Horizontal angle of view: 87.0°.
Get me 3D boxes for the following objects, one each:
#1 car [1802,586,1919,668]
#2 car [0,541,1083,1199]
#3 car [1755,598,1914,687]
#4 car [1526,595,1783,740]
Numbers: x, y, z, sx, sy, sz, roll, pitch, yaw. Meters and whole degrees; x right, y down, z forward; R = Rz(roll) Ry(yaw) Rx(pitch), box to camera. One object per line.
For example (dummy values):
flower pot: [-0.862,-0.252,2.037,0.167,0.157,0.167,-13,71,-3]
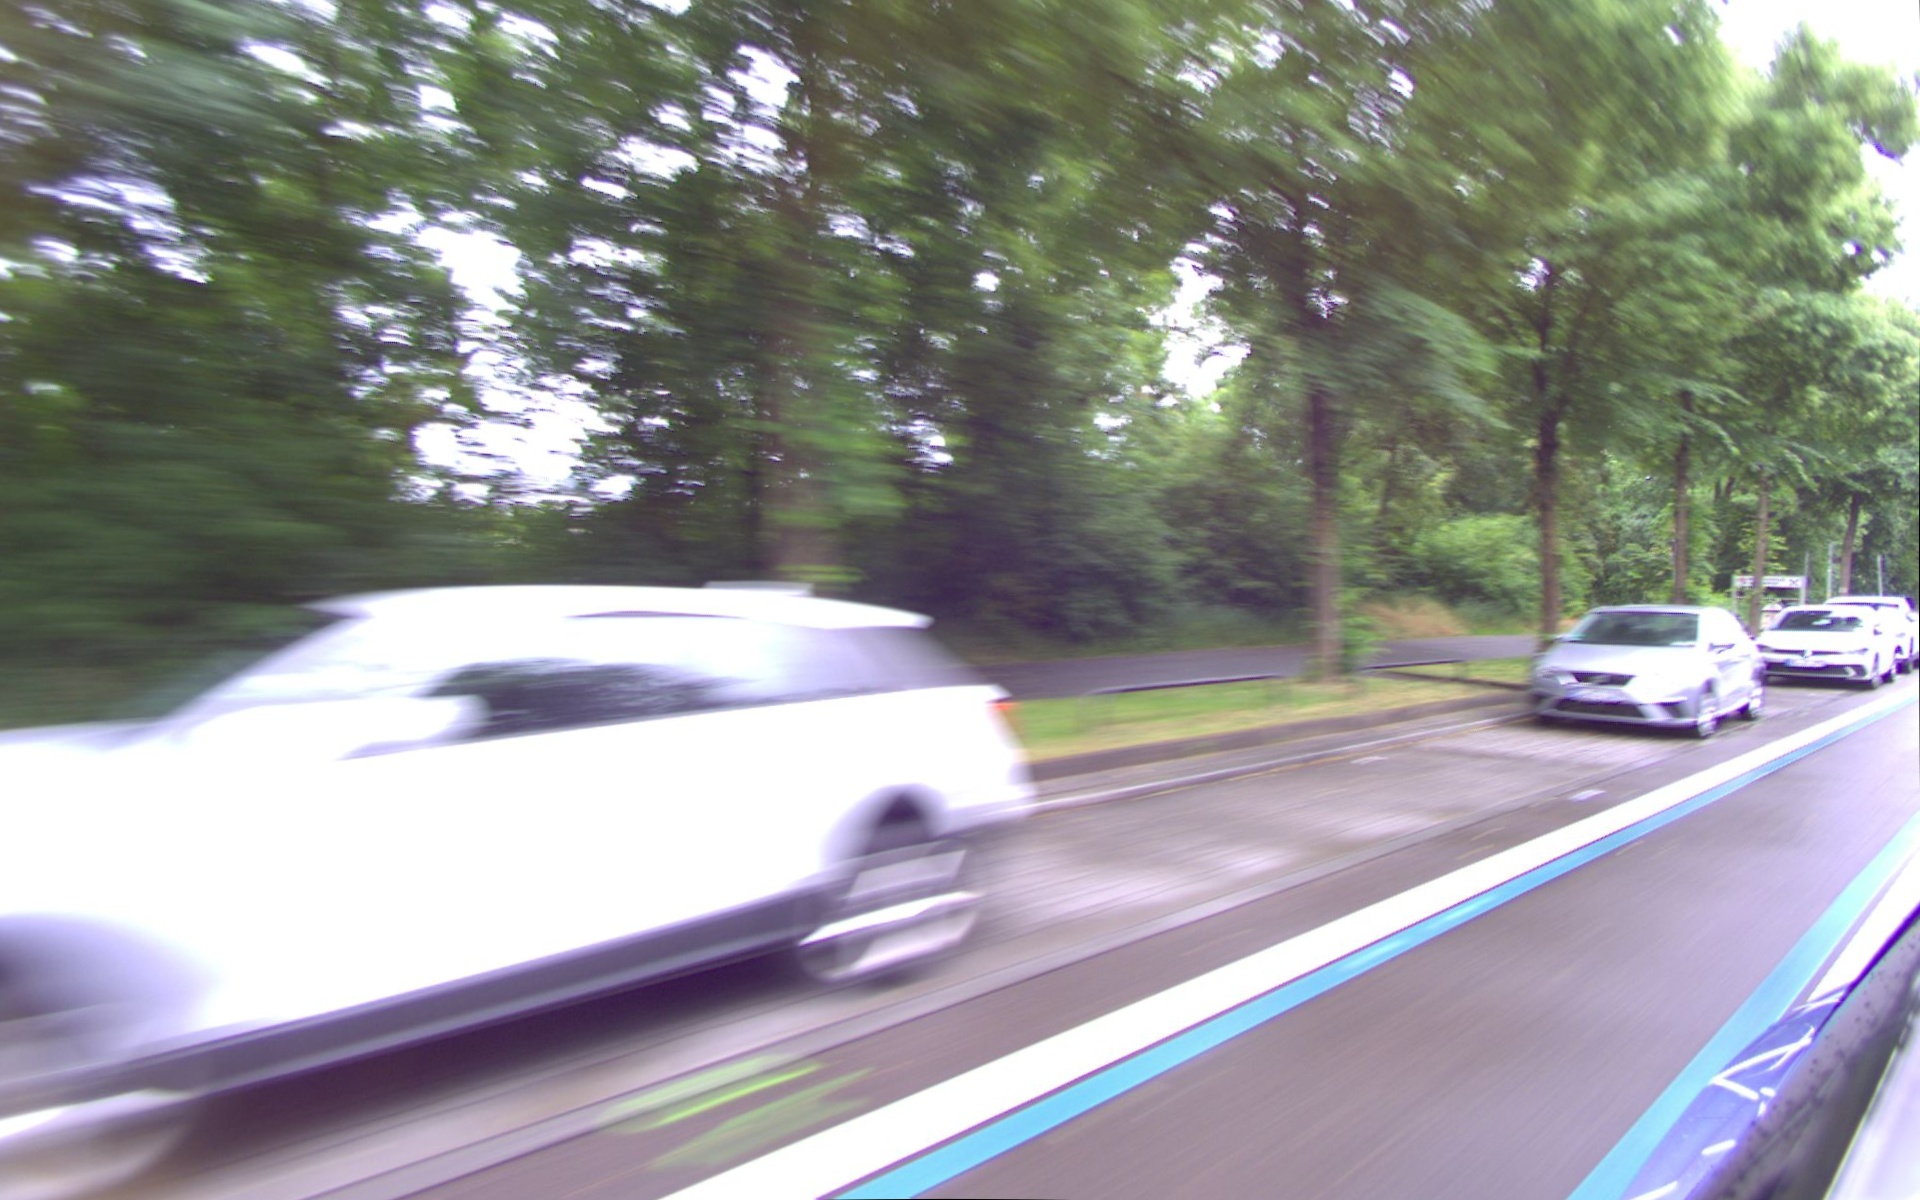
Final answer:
car: [20.868,0.548,22.995,4.483,1.683,1.997,0,1,-41]
car: [-1.678,0.636,3.633,4.390,1.532,1.701,0,0,-40]
car: [16.141,0.692,18.623,3.877,1.472,1.700,0,0,-41]
car: [8.506,0.681,12.268,4.027,1.472,1.700,0,0,-42]
